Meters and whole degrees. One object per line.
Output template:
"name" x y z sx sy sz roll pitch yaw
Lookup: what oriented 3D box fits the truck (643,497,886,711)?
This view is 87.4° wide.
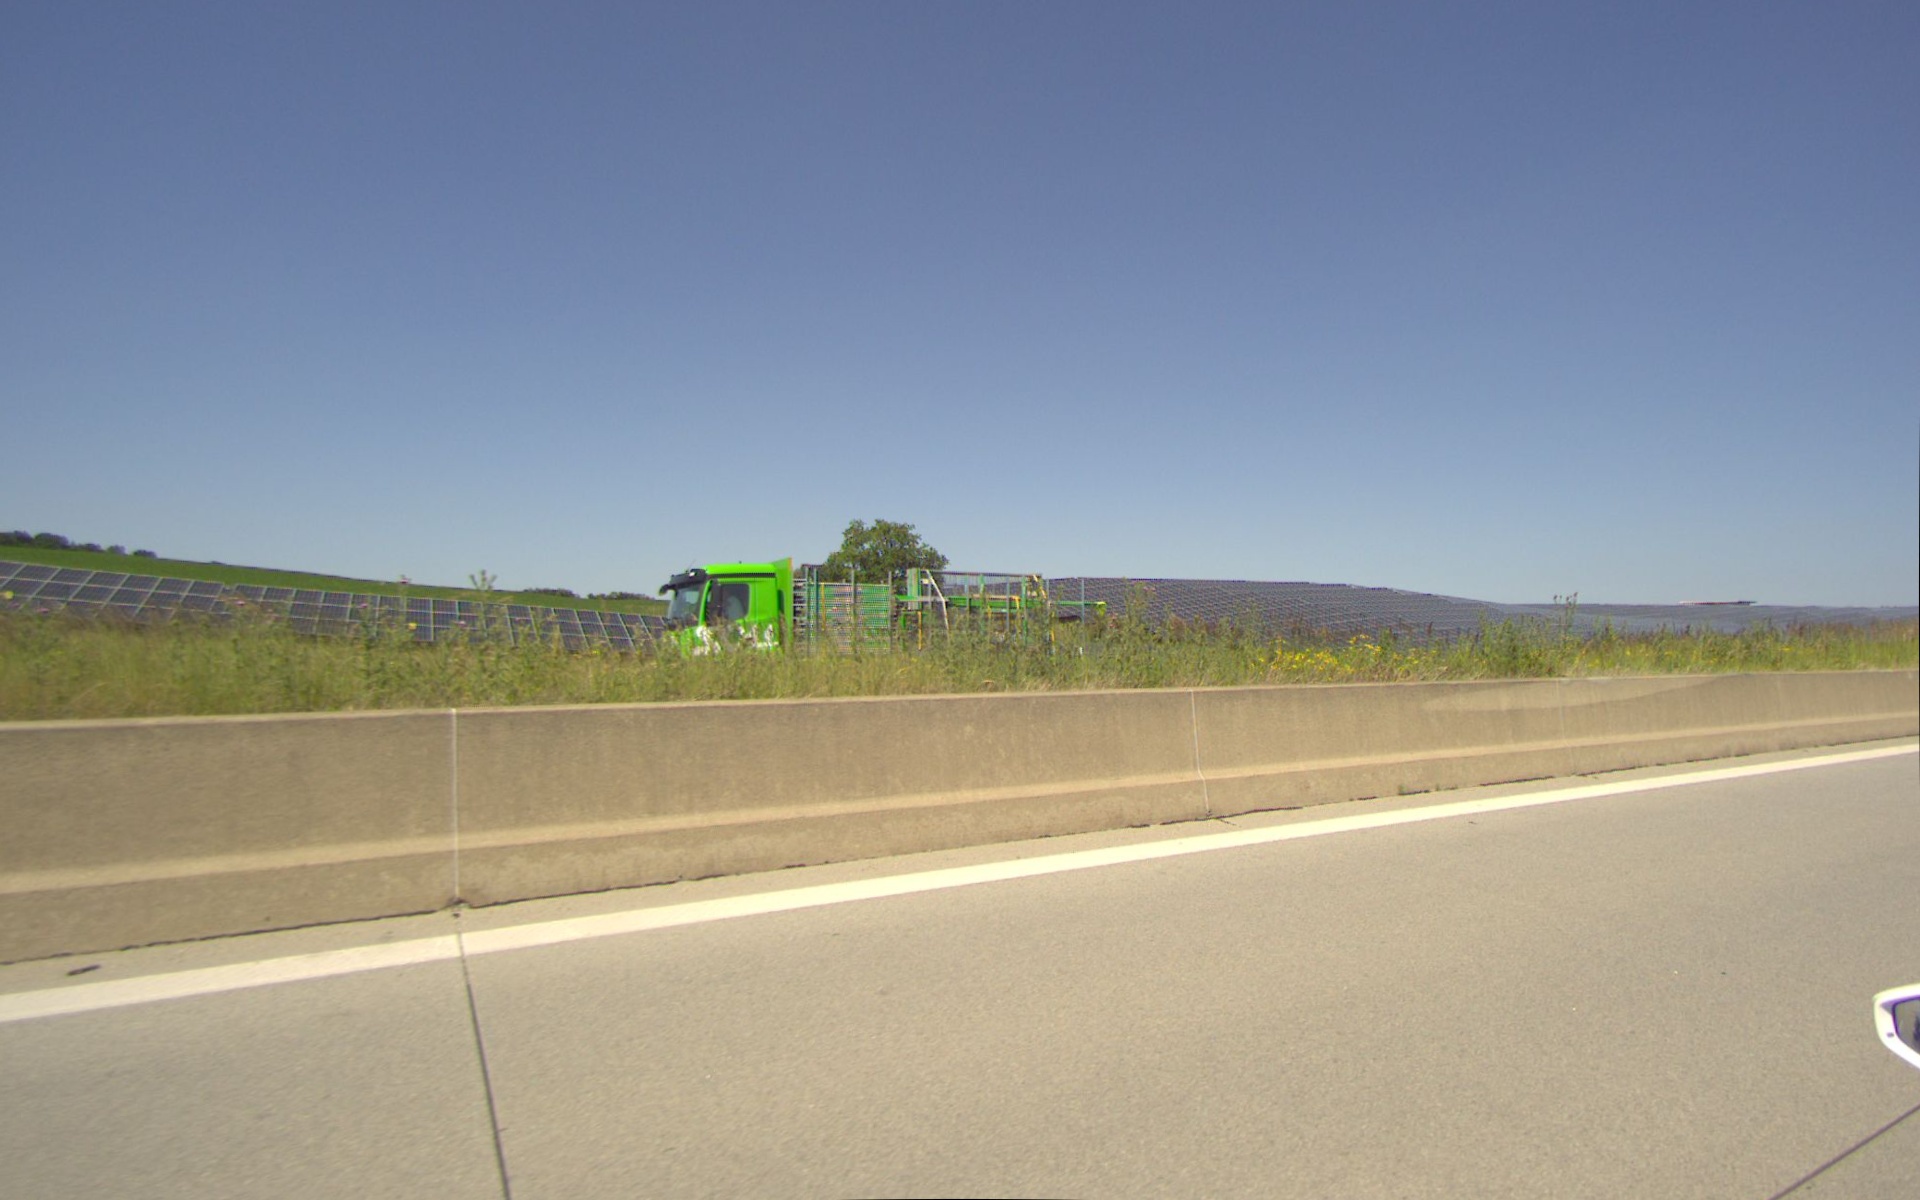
"truck" -4.116 0.116 21.109 4.301 4.004 2.732 2 0 -30

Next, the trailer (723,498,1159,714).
"trailer" -0.142 0.223 23.481 10.136 4.247 2.719 1 0 -30
